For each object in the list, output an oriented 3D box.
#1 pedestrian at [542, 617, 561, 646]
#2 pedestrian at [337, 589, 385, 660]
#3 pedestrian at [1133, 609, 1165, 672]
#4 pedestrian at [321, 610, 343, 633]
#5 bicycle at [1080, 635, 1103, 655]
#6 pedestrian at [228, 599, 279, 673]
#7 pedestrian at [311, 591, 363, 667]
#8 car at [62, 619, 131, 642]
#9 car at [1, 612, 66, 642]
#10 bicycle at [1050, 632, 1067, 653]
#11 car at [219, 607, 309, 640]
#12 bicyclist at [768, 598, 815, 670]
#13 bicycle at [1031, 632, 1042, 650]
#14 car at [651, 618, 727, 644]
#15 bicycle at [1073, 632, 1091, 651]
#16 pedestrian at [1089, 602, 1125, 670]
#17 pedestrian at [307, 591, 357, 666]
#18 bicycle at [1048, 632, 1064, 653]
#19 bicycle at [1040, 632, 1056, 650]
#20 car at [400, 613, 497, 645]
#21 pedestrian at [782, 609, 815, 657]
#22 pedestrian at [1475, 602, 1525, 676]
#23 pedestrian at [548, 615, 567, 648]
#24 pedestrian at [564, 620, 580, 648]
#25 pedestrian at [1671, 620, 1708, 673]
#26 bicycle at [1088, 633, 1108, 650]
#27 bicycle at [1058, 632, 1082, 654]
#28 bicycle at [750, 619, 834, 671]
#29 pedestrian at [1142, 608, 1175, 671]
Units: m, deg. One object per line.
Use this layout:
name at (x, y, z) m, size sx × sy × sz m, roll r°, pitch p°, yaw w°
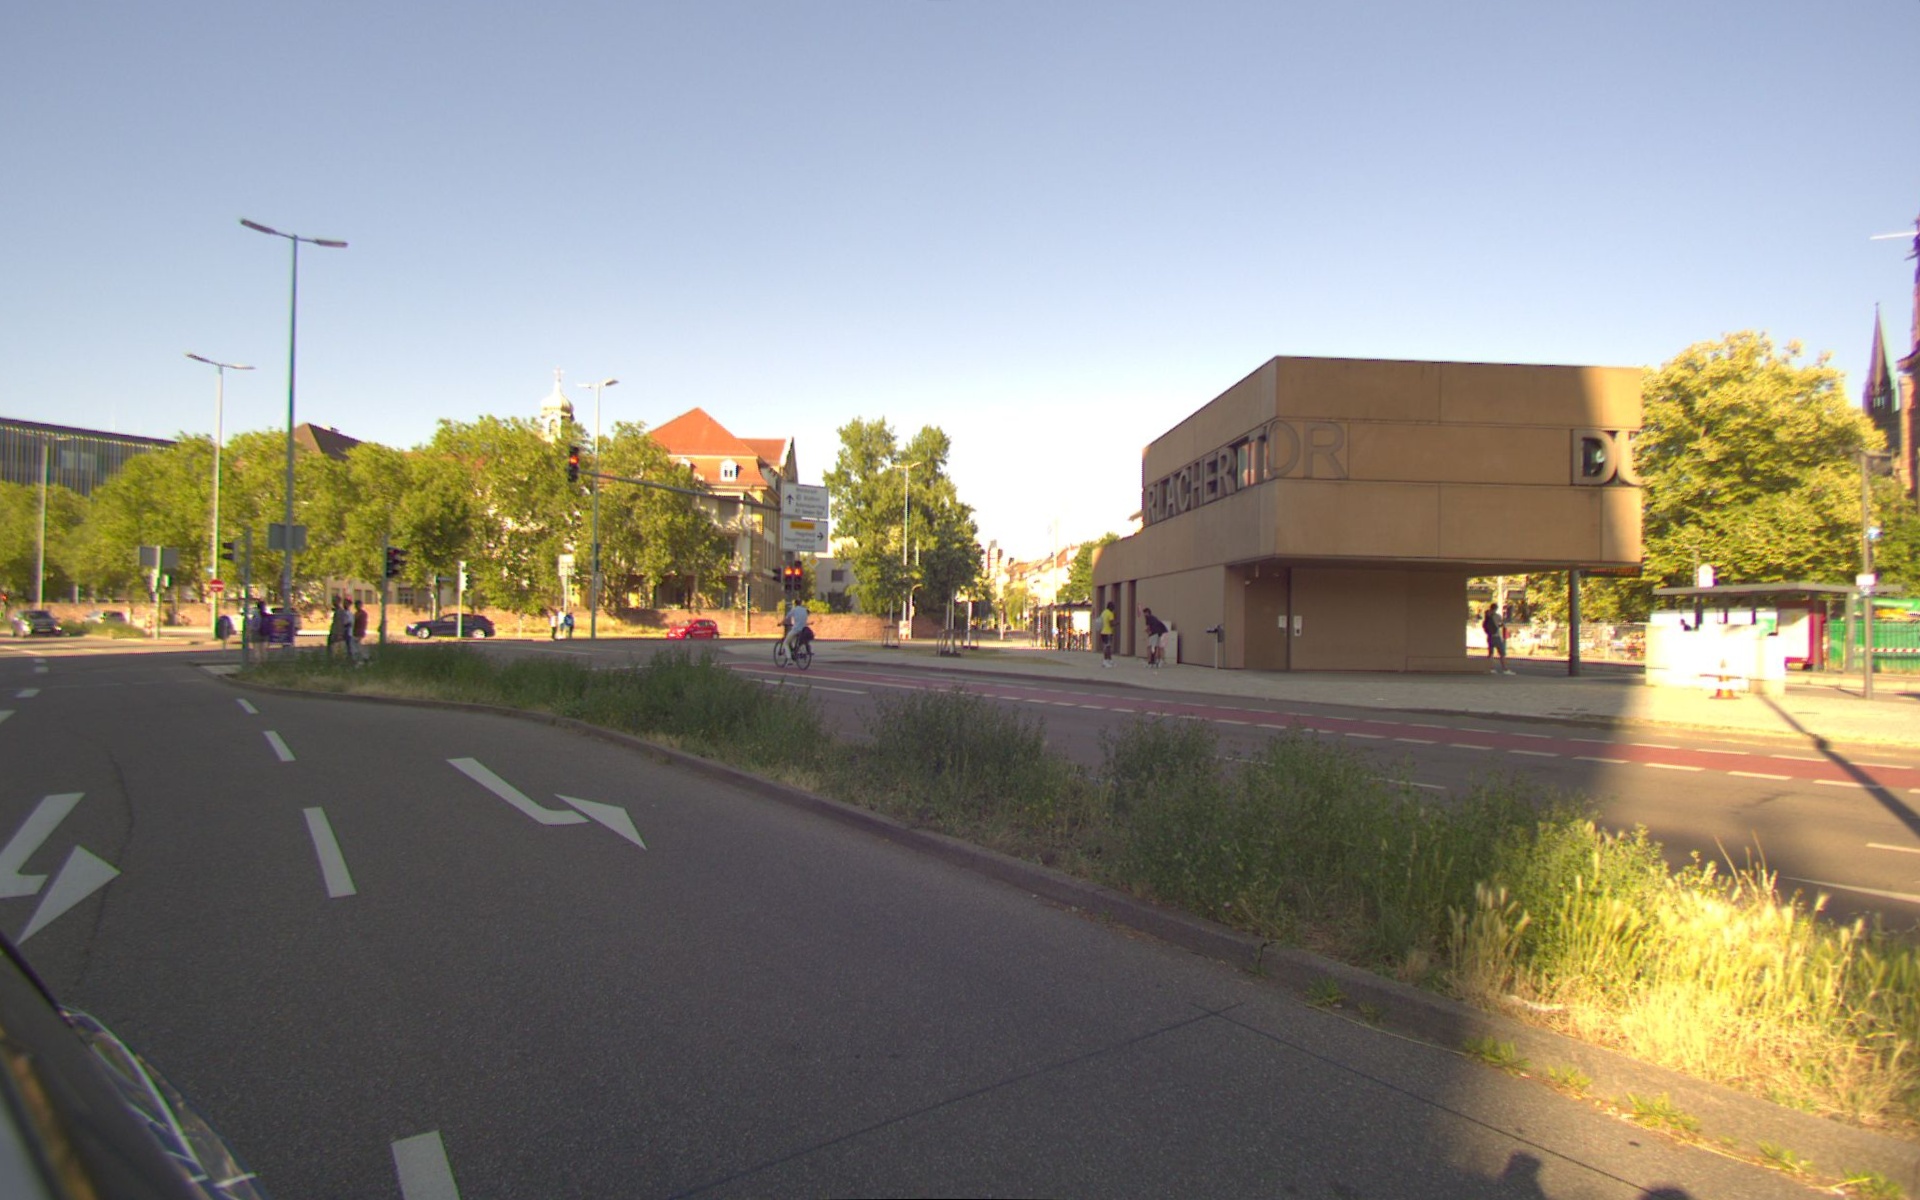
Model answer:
pedestrian at (-24.376, 1.873, 60.417) m, size 0.858 × 1.686 × 0.715 m, roll 2°, pitch 1°, yaw -32°
pedestrian at (-15.128, 0.628, 25.562) m, size 0.913 × 1.754 × 0.789 m, roll 2°, pitch -2°, yaw -40°
pedestrian at (5.215, 1.108, 27.908) m, size 0.628 × 1.702 × 0.551 m, roll 0°, pitch -3°, yaw -17°
pedestrian at (-43.338, 1.493, 69.828) m, size 0.920 × 1.548 × 0.962 m, roll 0°, pitch -2°, yaw 35°
bicycle at (7.598, 2.606, 58.690) m, size 0.853 × 1.051 × 1.934 m, roll -1°, pitch -1°, yaw -6°
pedestrian at (-17.215, 0.865, 24.668) m, size 0.913 × 1.754 × 0.758 m, roll 2°, pitch -2°, yaw -40°
pedestrian at (-14.679, 0.684, 23.850) m, size 0.913 × 1.754 × 0.758 m, roll 2°, pitch -2°, yaw -40°
car at (-64.077, 2.245, 75.072) m, size 4.333 × 1.632 × 2.140 m, roll 0°, pitch -2°, yaw 23°
car at (-49.256, 1.417, 53.794) m, size 4.012 × 1.530 × 1.901 m, roll 0°, pitch -2°, yaw 38°
bicycle at (5.647, 2.441, 58.174) m, size 0.477 × 1.114 × 1.805 m, roll -1°, pitch -1°, yaw -10°
car at (-38.836, 1.317, 56.471) m, size 4.580 × 1.697 × 2.176 m, roll -2°, pitch -3°, yaw 25°
bicyclist at (-4.431, 0.887, 26.637) m, size 1.013 × 1.846 × 0.732 m, roll 0°, pitch -1°, yaw 42°
bicycle at (4.819, 2.560, 63.824) m, size 0.559 × 1.062 × 1.972 m, roll -1°, pitch -1°, yaw 1°
car at (-17.284, 1.997, 64.804) m, size 2.185 × 1.598 × 4.562 m, roll -2°, pitch -3°, yaw 28°
bicycle at (7.487, 2.536, 62.168) m, size 0.747 × 1.062 × 1.975 m, roll -1°, pitch -1°, yaw -4°
pedestrian at (4.070, 1.007, 27.999) m, size 0.706 × 1.849 × 0.641 m, roll 0°, pitch -3°, yaw -29°
pedestrian at (-15.192, 0.686, 24.482) m, size 0.913 × 1.754 × 0.758 m, roll 2°, pitch -2°, yaw -40°
bicycle at (5.383, 2.381, 56.671) m, size 0.558 × 1.114 × 1.975 m, roll -1°, pitch -1°, yaw -4°
bicycle at (5.378, 2.497, 62.148) m, size 0.558 × 1.062 × 1.976 m, roll -1°, pitch -1°, yaw -6°
car at (-27.084, 1.531, 53.786) m, size 4.526 × 1.598 × 2.202 m, roll 0°, pitch -3°, yaw -24°
pedestrian at (-5.769, 1.178, 36.216) m, size 0.885 × 1.697 × 0.749 m, roll 2°, pitch -2°, yaw -40°
pedestrian at (14.903, 1.065, 27.927) m, size 0.966 × 1.997 × 0.719 m, roll 1°, pitch -2°, yaw -4°
pedestrian at (-24.396, 1.911, 61.307) m, size 0.858 × 1.908 × 0.715 m, roll 2°, pitch 1°, yaw -32°
pedestrian at (-24.015, 2.111, 62.634) m, size 0.780 × 1.665 × 0.715 m, roll 3°, pitch 1°, yaw -13°
pedestrian at (27.977, 1.785, 38.825) m, size 0.804 × 1.997 × 0.755 m, roll 1°, pitch -2°, yaw -2°
bicycle at (8.810, 2.639, 64.681) m, size 0.825 × 1.062 × 2.122 m, roll -1°, pitch -1°, yaw -6°
bicycle at (5.704, 2.240, 52.553) m, size 0.733 × 1.114 × 2.128 m, roll -1°, pitch -2°, yaw -8°
bicycle at (-4.445, 1.158, 26.628) m, size 2.556 × 1.265 × 0.732 m, roll 0°, pitch -1°, yaw 42°
pedestrian at (5.664, 1.127, 28.900) m, size 0.725 × 1.744 × 0.665 m, roll -1°, pitch -3°, yaw -5°
